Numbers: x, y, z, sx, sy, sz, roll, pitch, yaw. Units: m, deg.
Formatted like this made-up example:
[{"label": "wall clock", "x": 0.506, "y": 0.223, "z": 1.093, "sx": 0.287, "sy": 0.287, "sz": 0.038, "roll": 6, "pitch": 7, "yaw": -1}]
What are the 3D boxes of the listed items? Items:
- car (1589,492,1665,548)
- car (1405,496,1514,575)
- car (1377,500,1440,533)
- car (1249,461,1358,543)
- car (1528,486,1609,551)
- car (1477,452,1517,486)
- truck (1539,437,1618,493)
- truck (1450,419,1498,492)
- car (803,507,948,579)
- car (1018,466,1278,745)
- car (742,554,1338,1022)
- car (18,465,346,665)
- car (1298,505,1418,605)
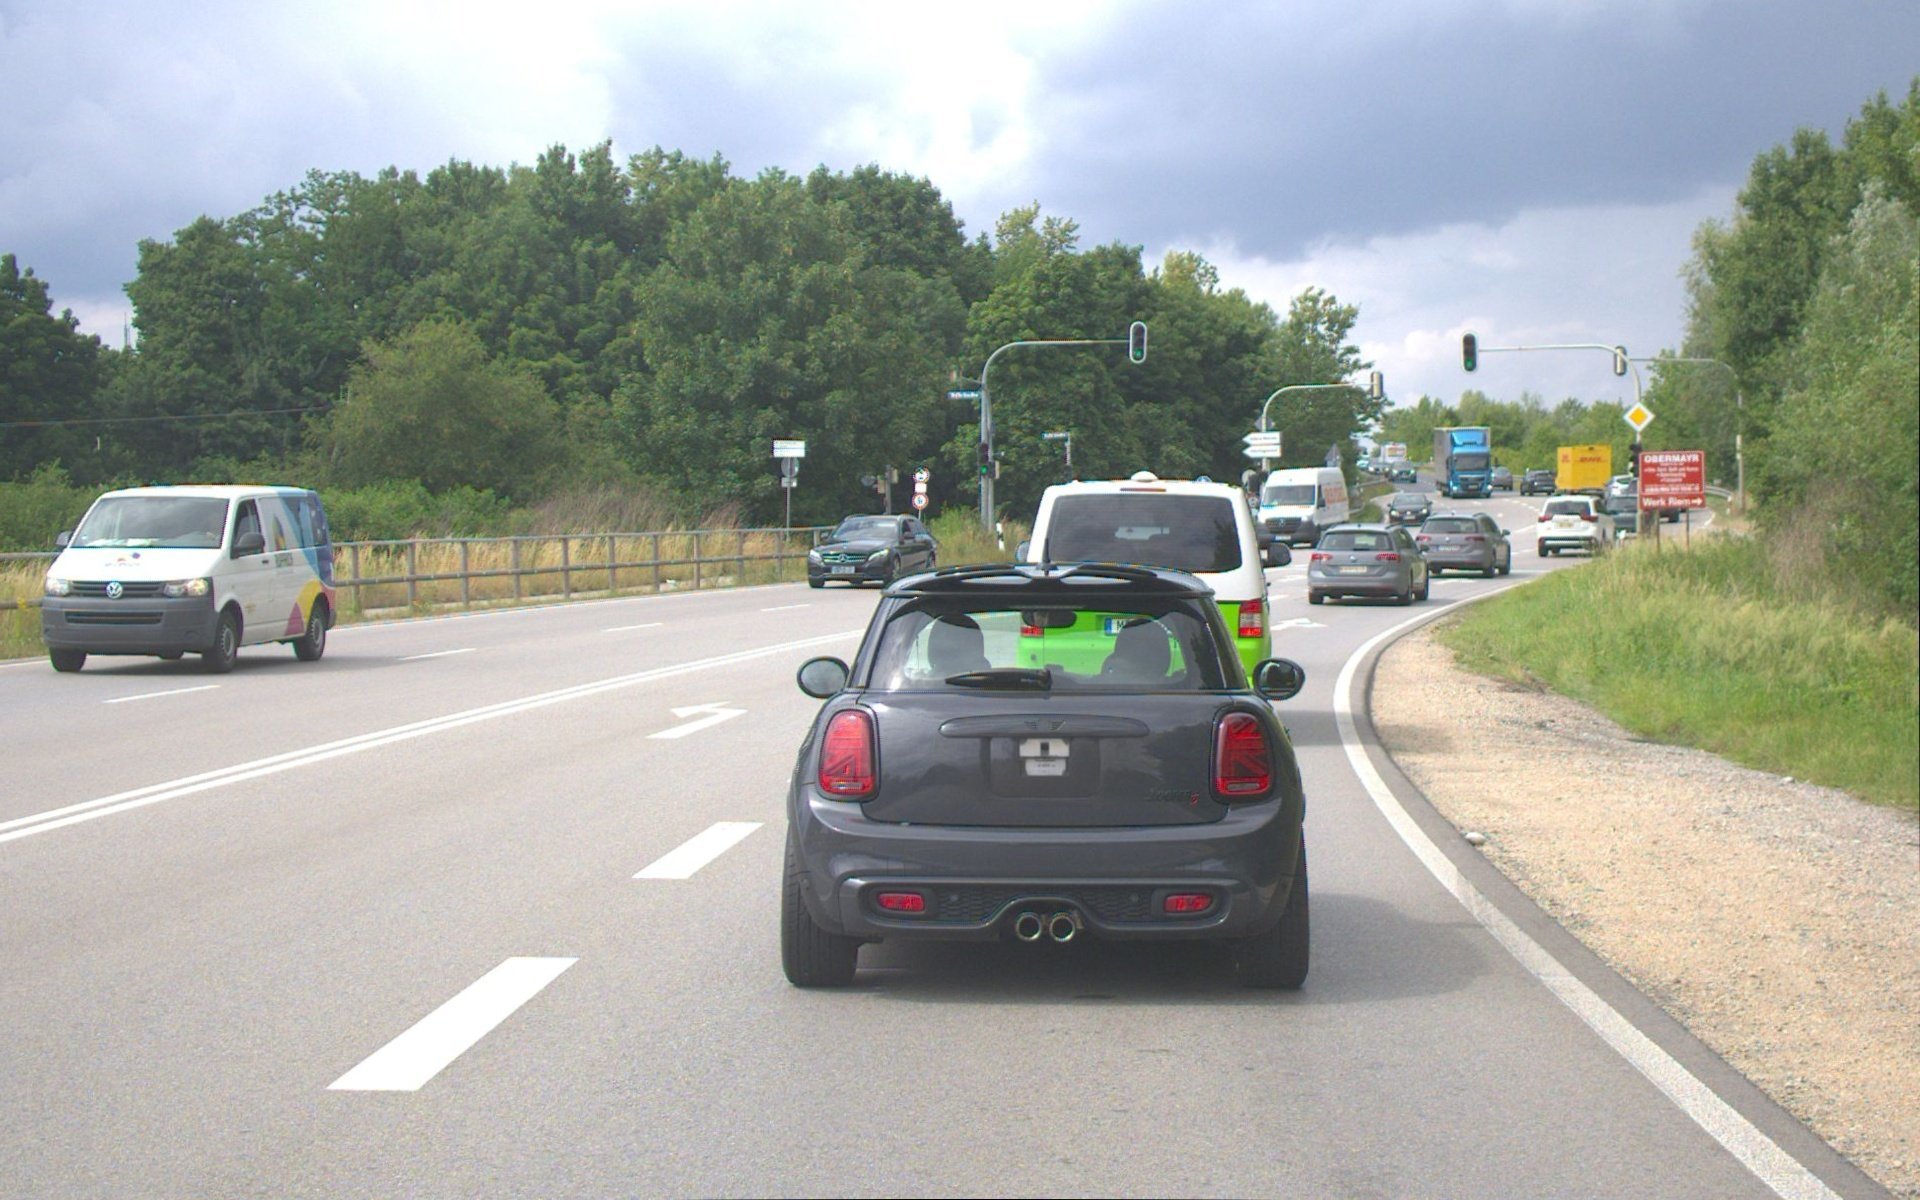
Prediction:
[{"label": "car", "x": 21.796, "y": -2.597, "z": 112.232, "sx": 1.995, "sy": 1.678, "sz": 3.997, "roll": 1, "pitch": 0, "yaw": 17}, {"label": "car", "x": 11.463, "y": -1.457, "z": 78.678, "sx": 1.995, "sy": 1.678, "sz": 3.974, "roll": 1, "pitch": 0, "yaw": 15}, {"label": "car", "x": 19.752, "y": -3.692, "z": 151.212, "sx": 1.948, "sy": 1.436, "sz": 3.996, "roll": 0, "pitch": 2, "yaw": 20}, {"label": "car", "x": 11.512, "y": -3.259, "z": 114.845, "sx": 2.435, "sy": 2.665, "sz": 6.883, "roll": 1, "pitch": 1, "yaw": 16}, {"label": "car", "x": 16.901, "y": -2.241, "z": 95.330, "sx": 1.995, "sy": 1.678, "sz": 3.998, "roll": 1, "pitch": 0, "yaw": 13}, {"label": "car", "x": 34.022, "y": -8.298, "z": 218.028, "sx": 2.181, "sy": 2.007, "sz": 3.999, "roll": 1, "pitch": 0, "yaw": 4}, {"label": "truck", "x": 33.336, "y": -7.249, "z": 185.567, "sx": 2.717, "sy": 2.888, "sz": 8.771, "roll": 0, "pitch": 1, "yaw": 0}, {"label": "truck", "x": 29.245, "y": -8.200, "z": 195.457, "sx": 2.541, "sy": 4.082, "sz": 3.998, "roll": 0, "pitch": 2, "yaw": 11}, {"label": "car", "x": -1.703, "y": -1.185, "z": 70.876, "sx": 1.810, "sy": 1.436, "sz": 4.350, "roll": 0, "pitch": 1, "yaw": 16}, {"label": "car", "x": 1.466, "y": -0.003, "z": 26.588, "sx": 1.845, "sy": 1.980, "sz": 3.841, "roll": 1, "pitch": 1, "yaw": 4}, {"label": "car", "x": 0.357, "y": 0.558, "z": 12.632, "sx": 1.845, "sy": 1.423, "sz": 3.841, "roll": 1, "pitch": 1, "yaw": 3}, {"label": "car", "x": -8.250, "y": -0.406, "z": 36.924, "sx": 1.994, "sy": 2.007, "sz": 4.666, "roll": 0, "pitch": 1, "yaw": 7}, {"label": "car", "x": 7.123, "y": -0.780, "z": 61.222, "sx": 1.994, "sy": 1.678, "sz": 3.999, "roll": 1, "pitch": 0, "yaw": 8}]
